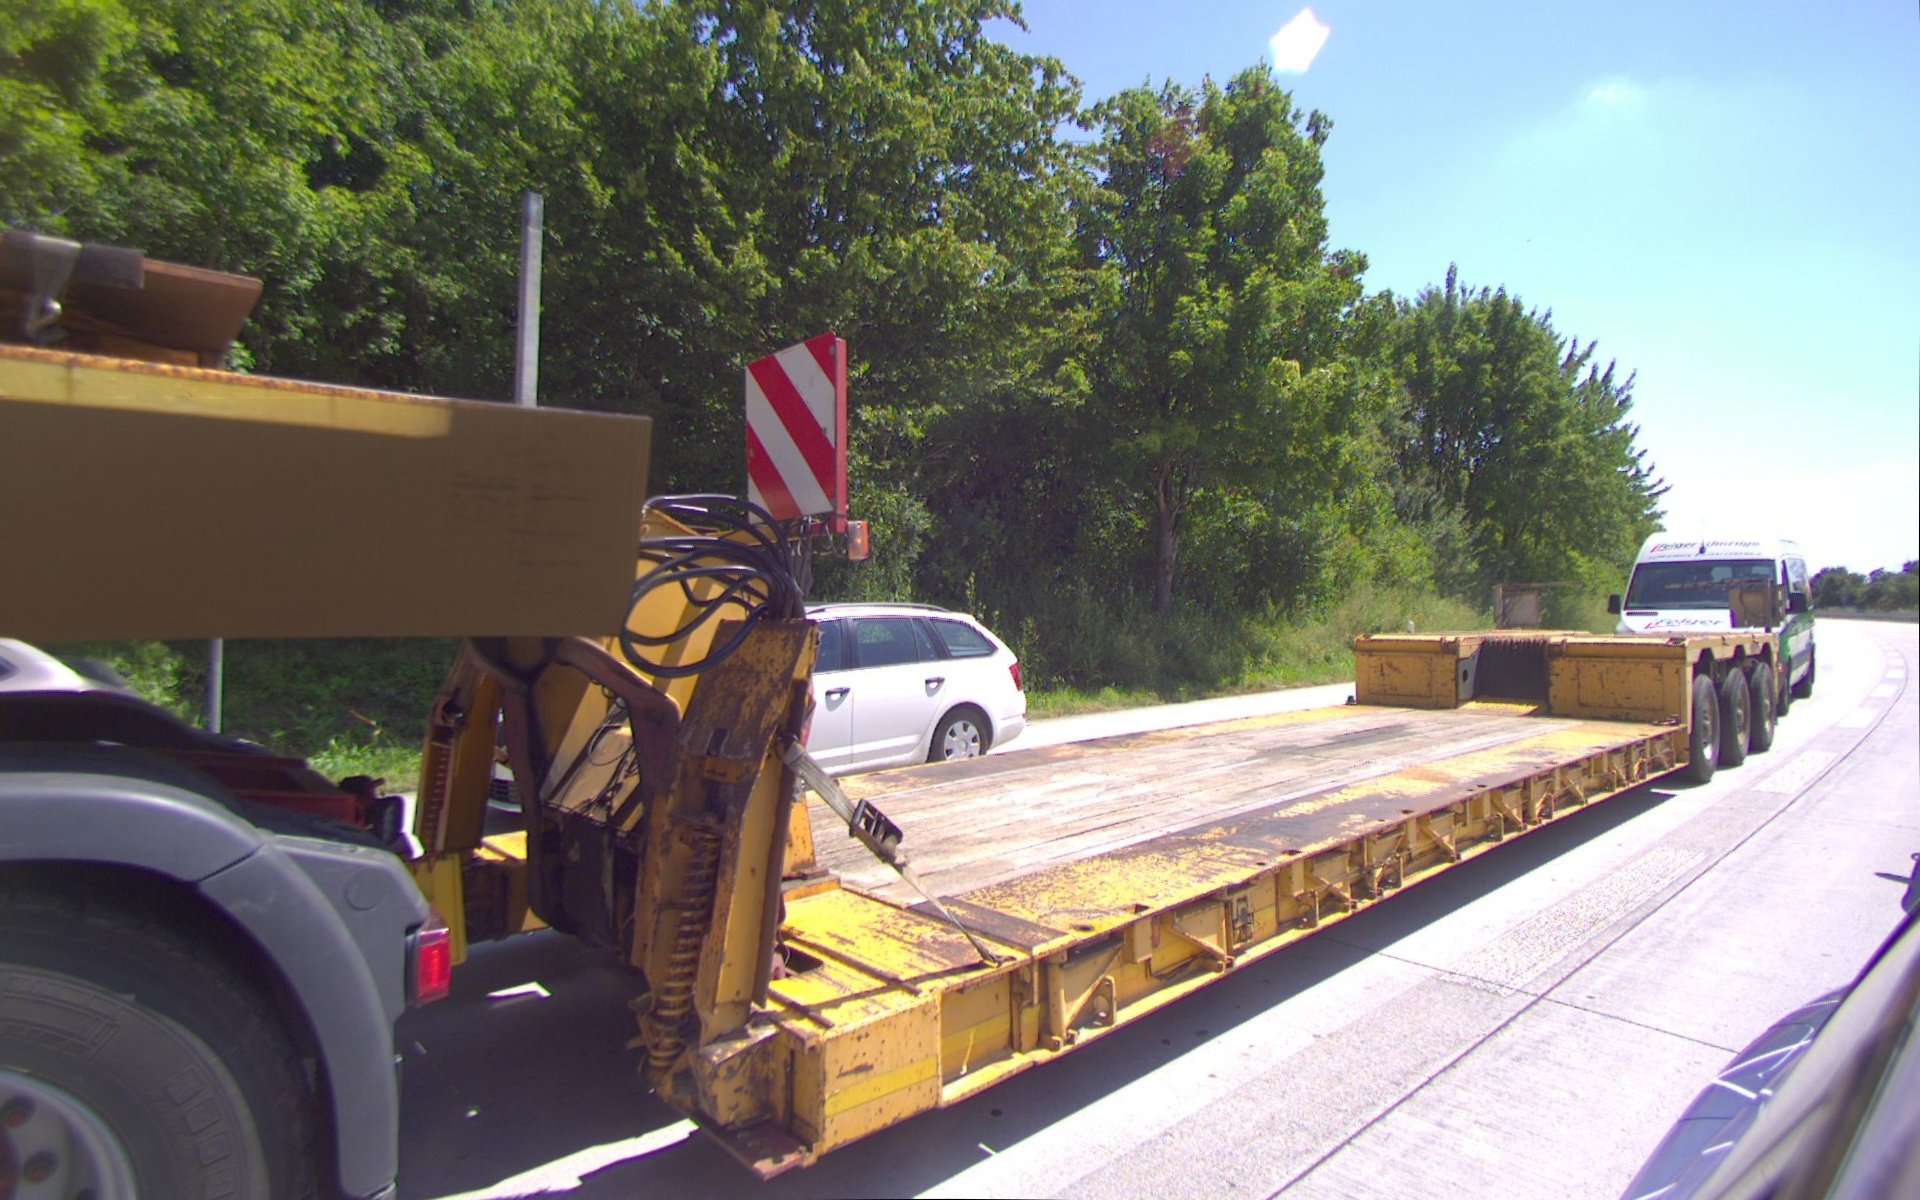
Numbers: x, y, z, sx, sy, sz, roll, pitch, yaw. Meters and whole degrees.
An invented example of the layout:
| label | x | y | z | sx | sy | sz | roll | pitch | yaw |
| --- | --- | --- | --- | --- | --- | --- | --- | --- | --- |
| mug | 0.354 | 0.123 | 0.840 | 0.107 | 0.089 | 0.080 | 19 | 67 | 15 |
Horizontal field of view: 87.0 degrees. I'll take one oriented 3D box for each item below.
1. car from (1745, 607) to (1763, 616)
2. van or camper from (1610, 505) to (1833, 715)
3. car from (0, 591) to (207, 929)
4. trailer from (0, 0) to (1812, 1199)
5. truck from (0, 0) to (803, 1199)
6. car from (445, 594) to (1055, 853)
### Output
| label | x | y | z | sx | sy | sz | roll | pitch | yaw |
| --- | --- | --- | --- | --- | --- | --- | --- | --- | --- |
| car | 146.676 | 2.120 | 186.930 | 1.690 | 1.483 | 3.964 | 0 | 0 | 26 |
| van or camper | 11.734 | 0.089 | 15.393 | 2.063 | 2.606 | 5.815 | 0 | 0 | 43 |
| car | -5.844 | 0.714 | 4.147 | 4.290 | 1.480 | 1.770 | -1 | 0 | -42 |
| trailer | 1.836 | 0.110 | 6.180 | 16.076 | 2.626 | 3.031 | 0 | 0 | -42 |
| truck | -4.052 | -0.500 | 0.829 | 7.342 | 3.820 | 3.017 | 0 | 0 | -42 |
| car | -1.407 | 0.704 | 8.060 | 4.521 | 1.480 | 1.769 | -1 | 0 | -43 |
